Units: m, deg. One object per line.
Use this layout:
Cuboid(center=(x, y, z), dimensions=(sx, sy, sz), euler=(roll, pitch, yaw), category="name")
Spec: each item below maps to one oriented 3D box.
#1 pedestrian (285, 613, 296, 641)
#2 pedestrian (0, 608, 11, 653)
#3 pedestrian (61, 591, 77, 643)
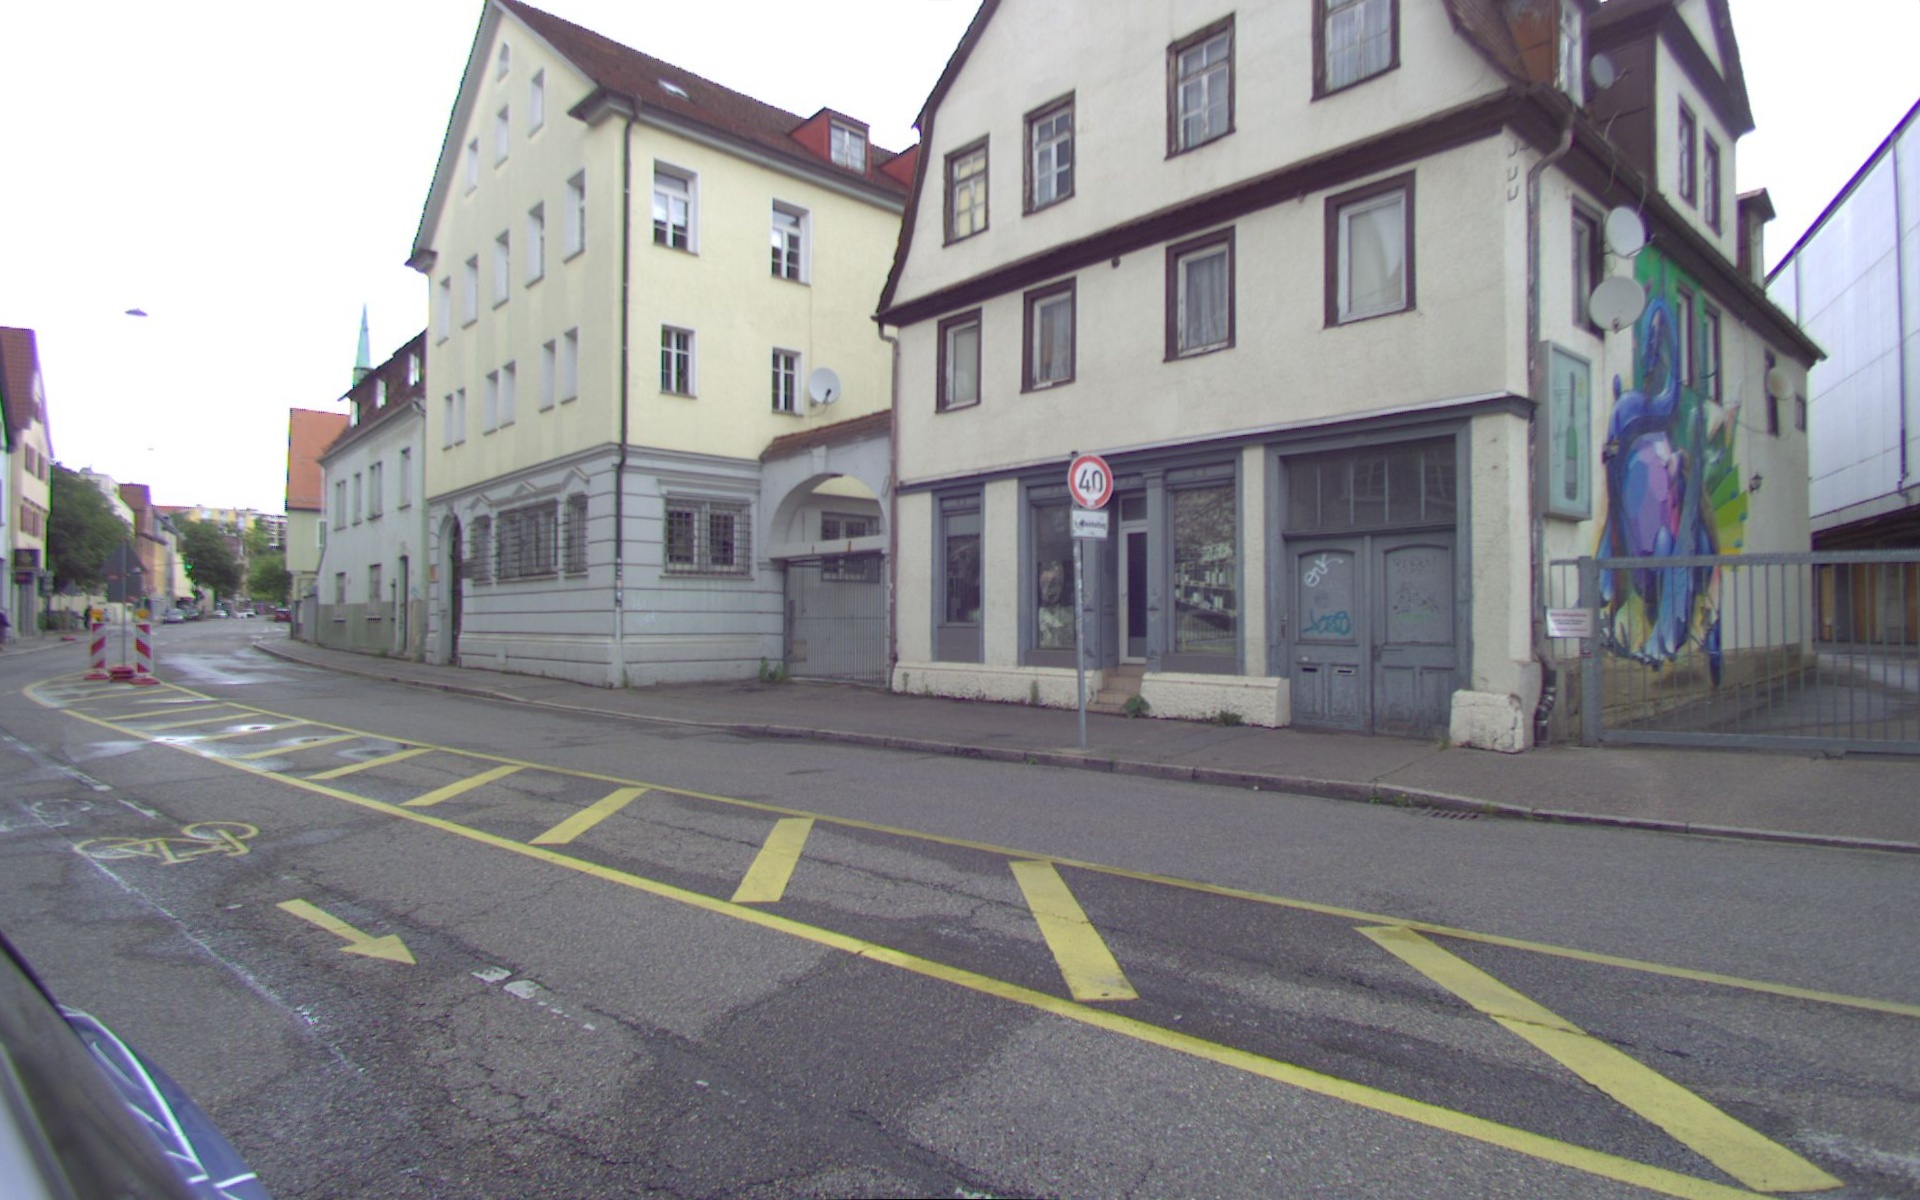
Cuboid(center=(-43.347, 1.725, 65.530), dimensions=(0.583, 1.793, 0.506), euler=(1, -2, -37), category="pedestrian")
Cuboid(center=(-35.460, 1.130, 37.205), dimensions=(0.714, 1.625, 0.650), euler=(-1, -2, -34), category="pedestrian")
Cuboid(center=(-43.690, 0.850, 49.631), dimensions=(0.487, 2.547, 0.747), euler=(1, -2, -38), category="pedestrian")
